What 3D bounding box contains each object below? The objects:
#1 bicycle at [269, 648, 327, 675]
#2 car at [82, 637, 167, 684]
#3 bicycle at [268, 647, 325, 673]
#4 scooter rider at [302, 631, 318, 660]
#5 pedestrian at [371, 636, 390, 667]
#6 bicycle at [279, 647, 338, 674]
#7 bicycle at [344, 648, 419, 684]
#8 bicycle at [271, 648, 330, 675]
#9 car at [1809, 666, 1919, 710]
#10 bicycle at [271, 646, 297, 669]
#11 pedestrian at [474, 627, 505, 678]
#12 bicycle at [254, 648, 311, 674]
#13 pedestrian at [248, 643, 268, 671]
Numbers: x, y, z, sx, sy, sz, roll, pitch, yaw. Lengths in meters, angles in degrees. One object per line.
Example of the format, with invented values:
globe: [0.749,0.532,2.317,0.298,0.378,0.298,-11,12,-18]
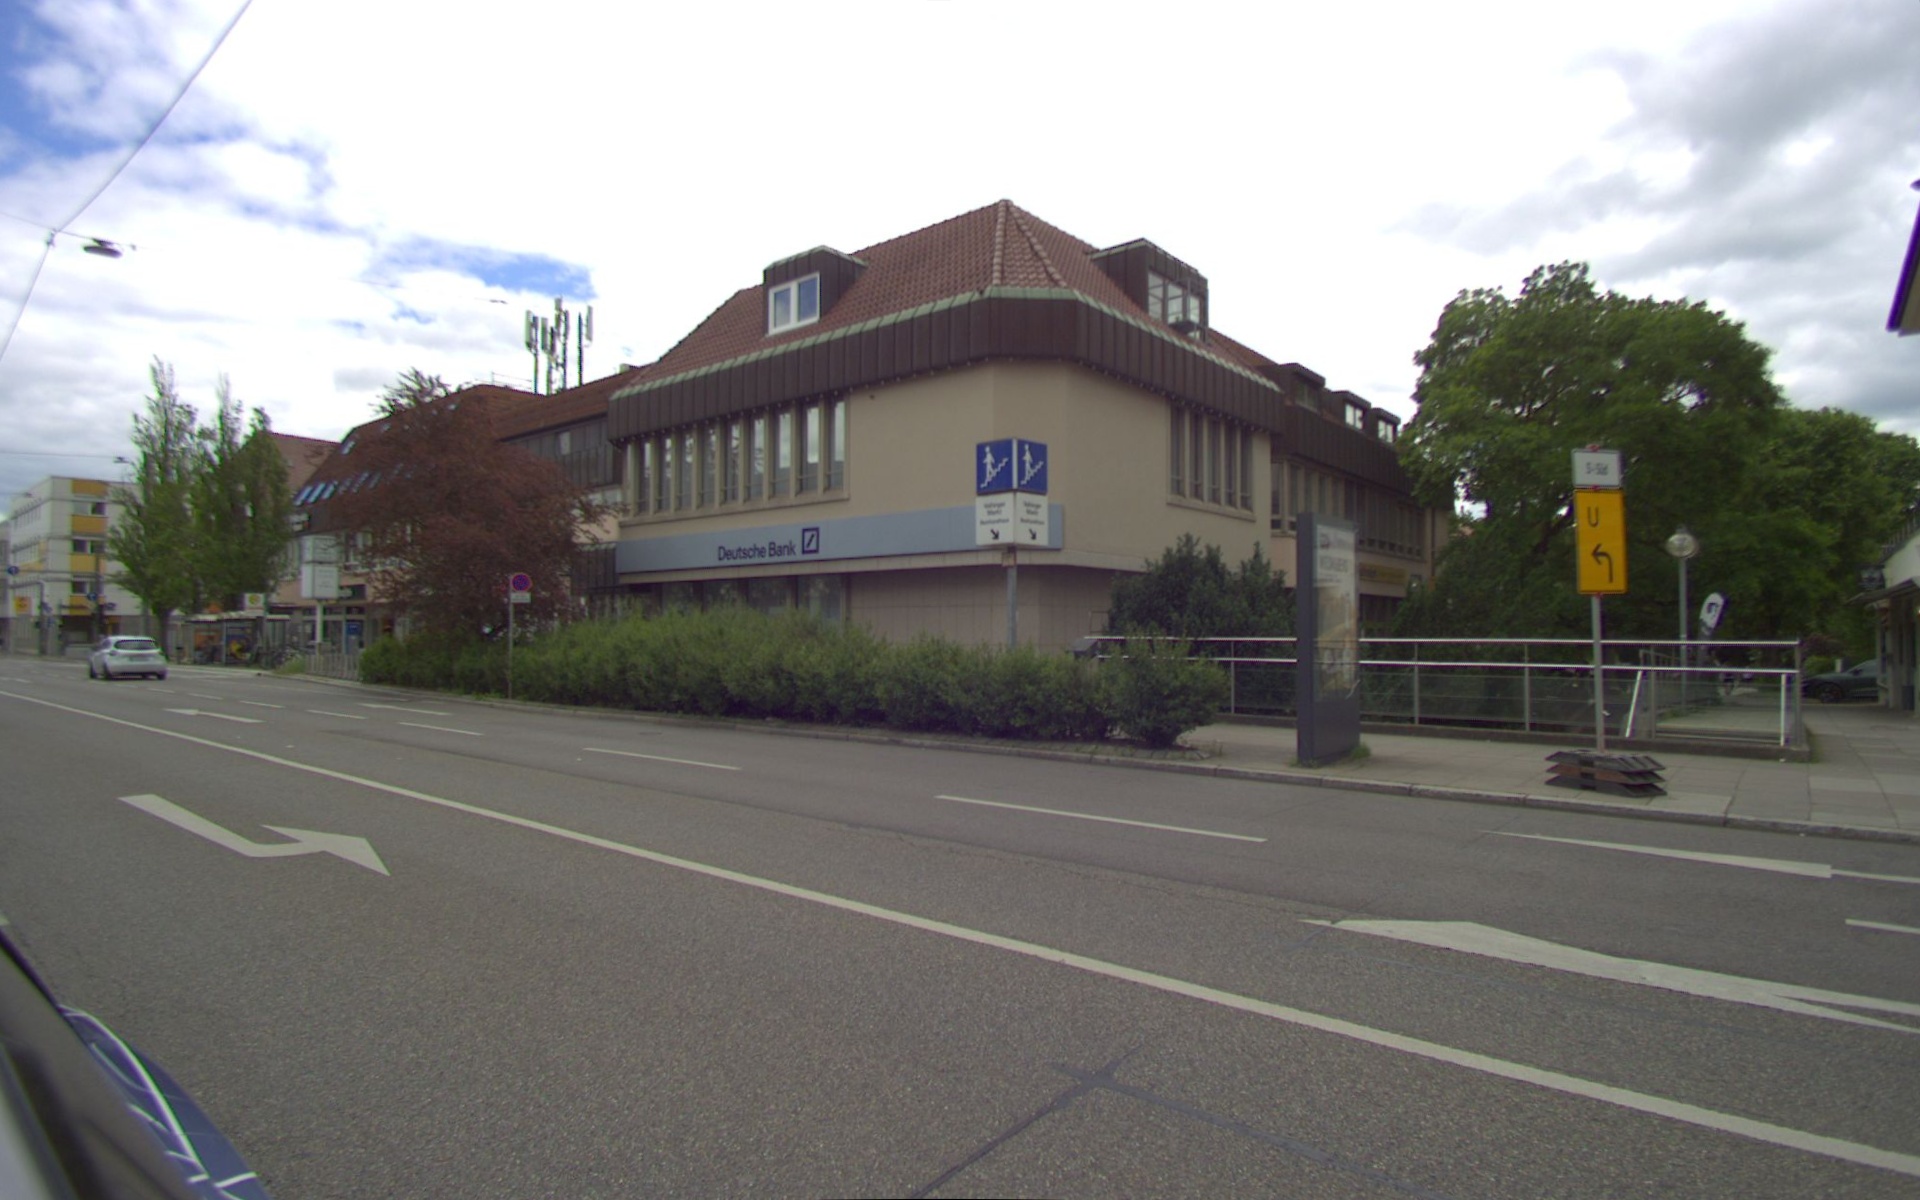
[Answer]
bicycle: [-28.377,2.616,43.430,0.646,1.098,2.003,-2,-3,31]
car: [-29.829,2.145,36.108,3.924,1.580,1.623,-2,-5,41]
bicycle: [-29.119,2.629,44.424,0.646,1.098,2.003,-2,-3,31]
scooter rider: [-39.219,2.752,61.061,0.587,1.725,0.607,-3,0,37]
pedestrian: [-29.491,2.612,51.520,0.587,1.559,0.704,-3,-3,39]
bicycle: [-27.736,2.569,43.116,0.646,1.098,2.003,-2,-3,31]
bicycle: [-18.303,2.075,32.061,0.646,1.098,2.003,-2,-3,31]
bicycle: [-27.419,2.549,42.112,0.646,1.098,2.003,-2,-3,31]
car: [33.843,3.230,37.582,3.505,1.535,1.600,-2,-4,41]
bicycle: [-33.483,2.859,50.133,1.928,1.098,0.528,-2,-2,39]
pedestrian: [-17.007,1.879,36.563,0.756,1.777,0.717,-3,1,45]
bicycle: [-30.071,2.688,44.927,0.647,1.098,2.000,-2,-3,35]
pedestrian: [-34.894,2.821,50.274,0.588,1.374,0.704,-3,-3,42]
